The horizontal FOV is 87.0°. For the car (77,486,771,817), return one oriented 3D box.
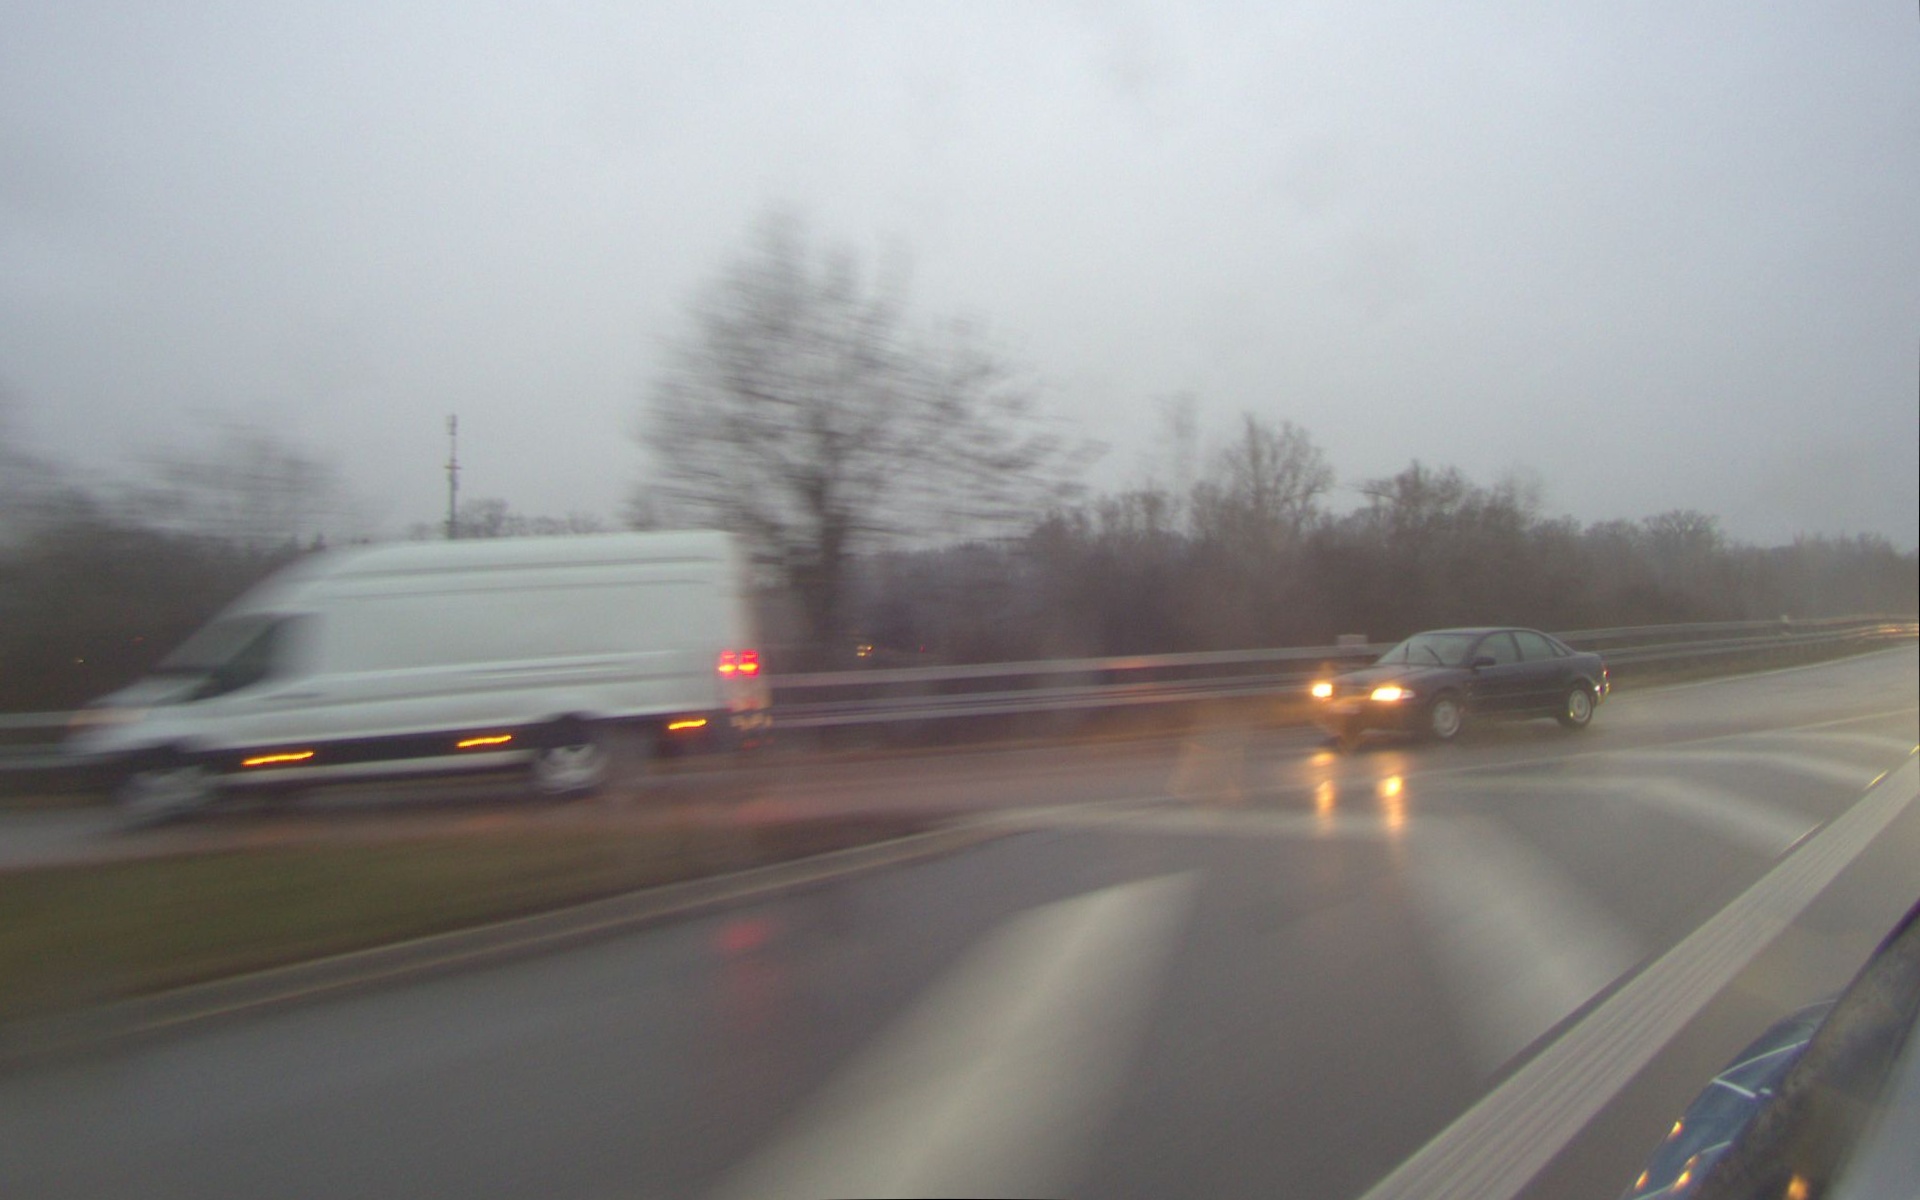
[{"bbox_3d":[-5.320,0.466,11.056,6.259,3.005,2.291,-2,-3,-9],"label":"car"}]

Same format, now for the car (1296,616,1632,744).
[{"bbox_3d":[6.782,0.975,13.562,4.288,1.433,1.744,0,-2,-26],"label":"car"}]
